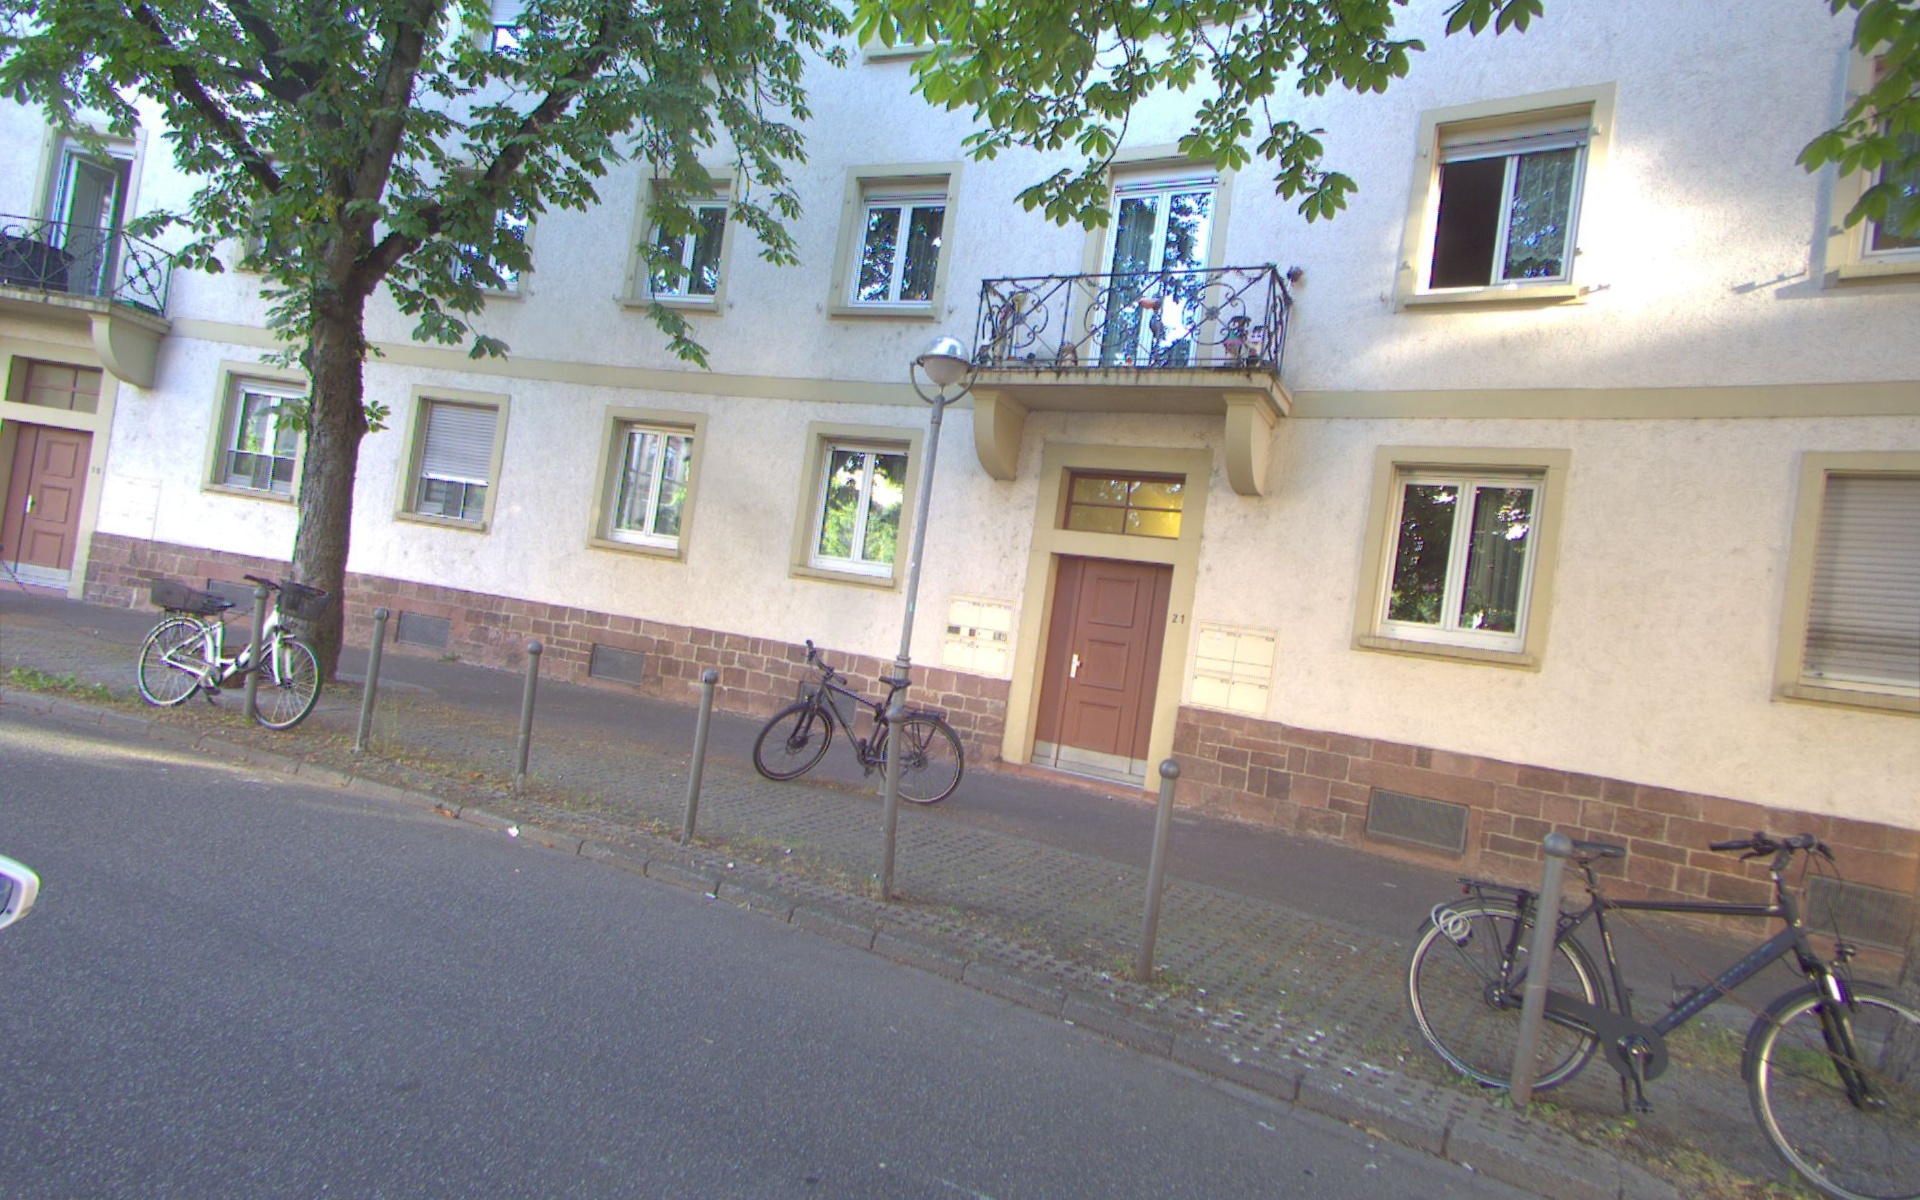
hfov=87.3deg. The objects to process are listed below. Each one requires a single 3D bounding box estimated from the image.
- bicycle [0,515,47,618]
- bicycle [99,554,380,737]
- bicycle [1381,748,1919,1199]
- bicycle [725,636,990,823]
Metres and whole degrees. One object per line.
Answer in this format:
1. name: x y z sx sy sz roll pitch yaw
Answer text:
1. bicycle: -11.689 -0.505 11.562 1.929 1.120 0.670 8 -2 13
2. bicycle: -5.603 0.333 7.827 1.936 1.109 0.514 8 0 12
3. bicycle: 2.643 1.330 3.628 1.881 1.237 0.719 7 -1 29
4. bicycle: -0.779 0.990 7.988 1.823 1.131 0.804 8 -1 8
